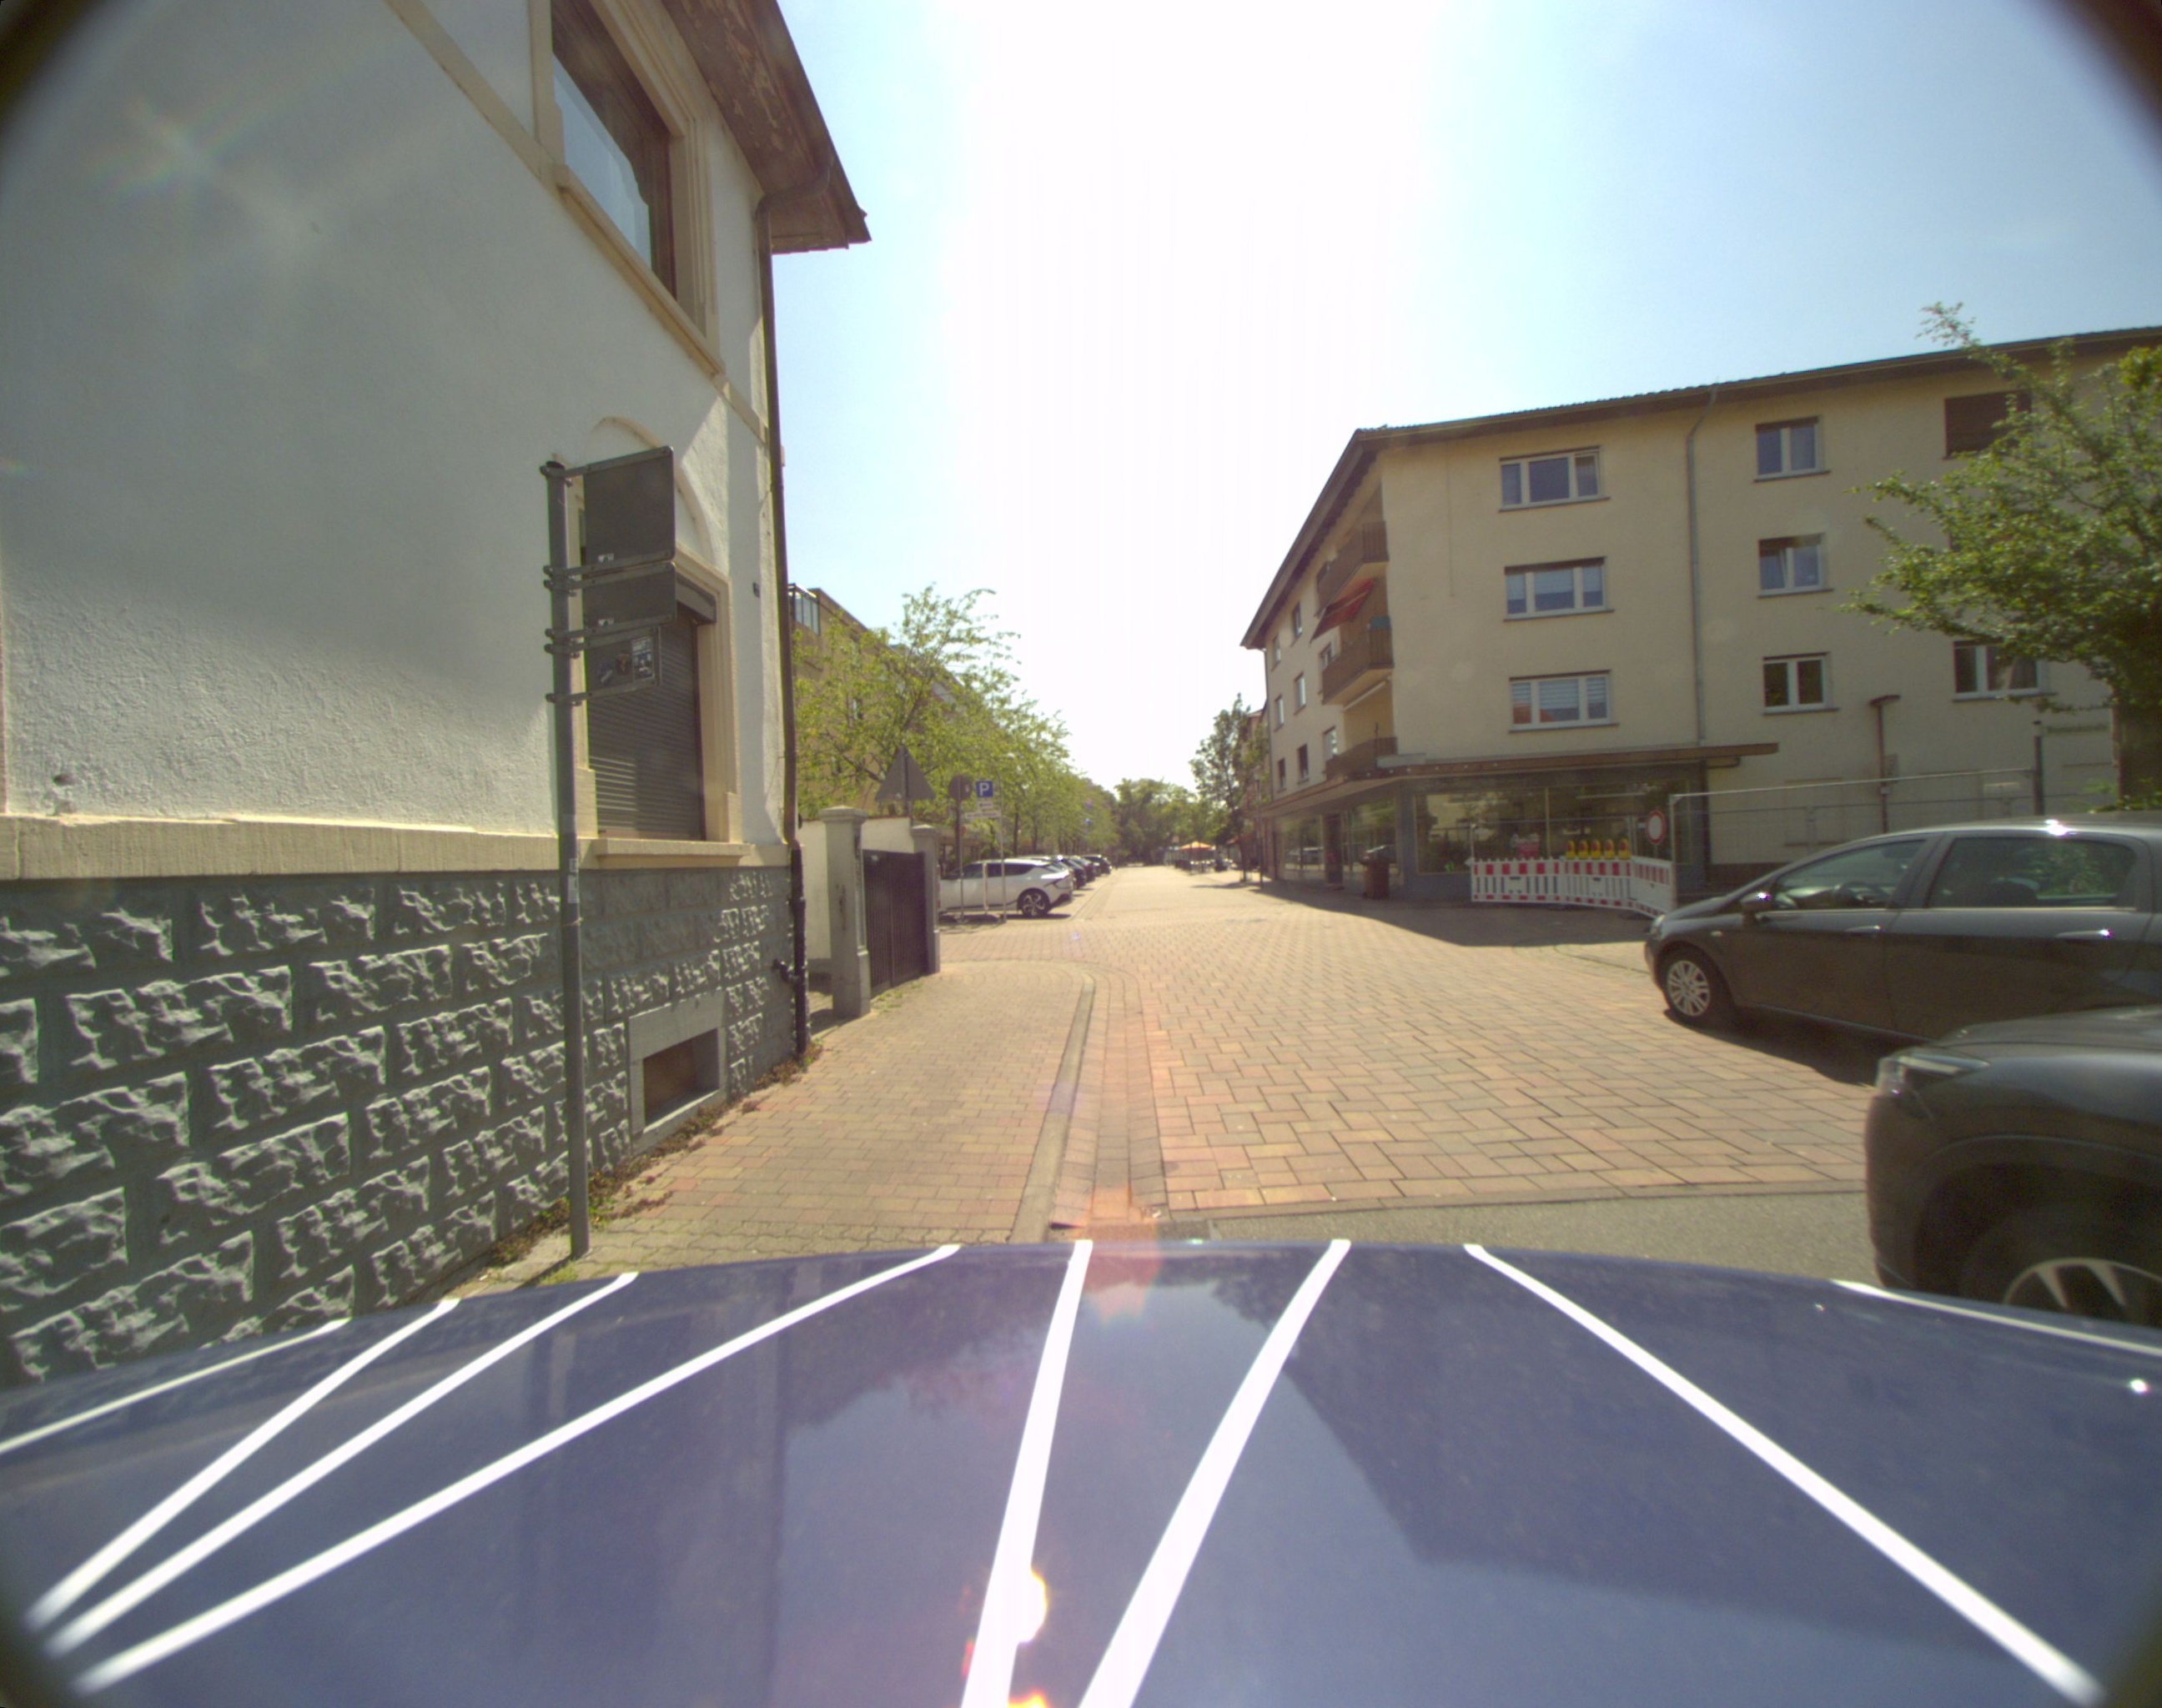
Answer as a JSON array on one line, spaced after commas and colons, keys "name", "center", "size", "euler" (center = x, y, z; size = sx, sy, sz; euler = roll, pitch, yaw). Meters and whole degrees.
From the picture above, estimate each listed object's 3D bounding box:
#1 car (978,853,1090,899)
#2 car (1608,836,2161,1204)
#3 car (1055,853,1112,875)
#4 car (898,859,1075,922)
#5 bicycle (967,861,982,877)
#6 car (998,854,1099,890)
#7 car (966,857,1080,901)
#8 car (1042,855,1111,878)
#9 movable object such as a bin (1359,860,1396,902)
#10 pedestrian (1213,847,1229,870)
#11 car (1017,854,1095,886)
[{"name": "car", "center": [-1.838, 0.859, 30.659], "size": [4.289, 1.671, 2.001], "euler": [-1, 0, 2]}, {"name": "car", "center": [5.304, 0.678, 4.444], "size": [1.706, 1.488, 3.857], "euler": [-2, 0, 0]}, {"name": "car", "center": [0.234, 0.735, 57.682], "size": [4.253, 1.608, 1.757], "euler": [-1, 0, 3]}, {"name": "car", "center": [-2.451, 0.946, 20.433], "size": [4.450, 1.566, 1.789], "euler": [-1, 0, 4]}, {"name": "bicycle", "center": [-7.936, 1.109, 56.743], "size": [0.643, 1.075, 1.866], "euler": [-3, 1, 4]}, {"name": "car", "center": [-1.474, 0.845, 35.810], "size": [4.517, 1.579, 1.851], "euler": [-1, 0, 6]}, {"name": "car", "center": [-2.077, 0.903, 27.892], "size": [3.953, 1.525, 1.824], "euler": [0, 0, 3]}, {"name": "car", "center": [-0.321, 0.828, 51.730], "size": [4.389, 1.455, 1.888], "euler": [-1, 0, -14]}, {"name": "movable object such as a bin", "center": [7.868, 0.706, 20.206], "size": [0.657, 1.064, 0.663], "euler": [-3, 0, -3]}, {"name": "pedestrian", "center": [10.989, 0.348, 59.733], "size": [0.758, 1.770, 0.872], "euler": [-3, 1, 44]}, {"name": "car", "center": [-1.315, 0.844, 40.623], "size": [4.036, 1.603, 1.681], "euler": [-1, 1, 3]}]
